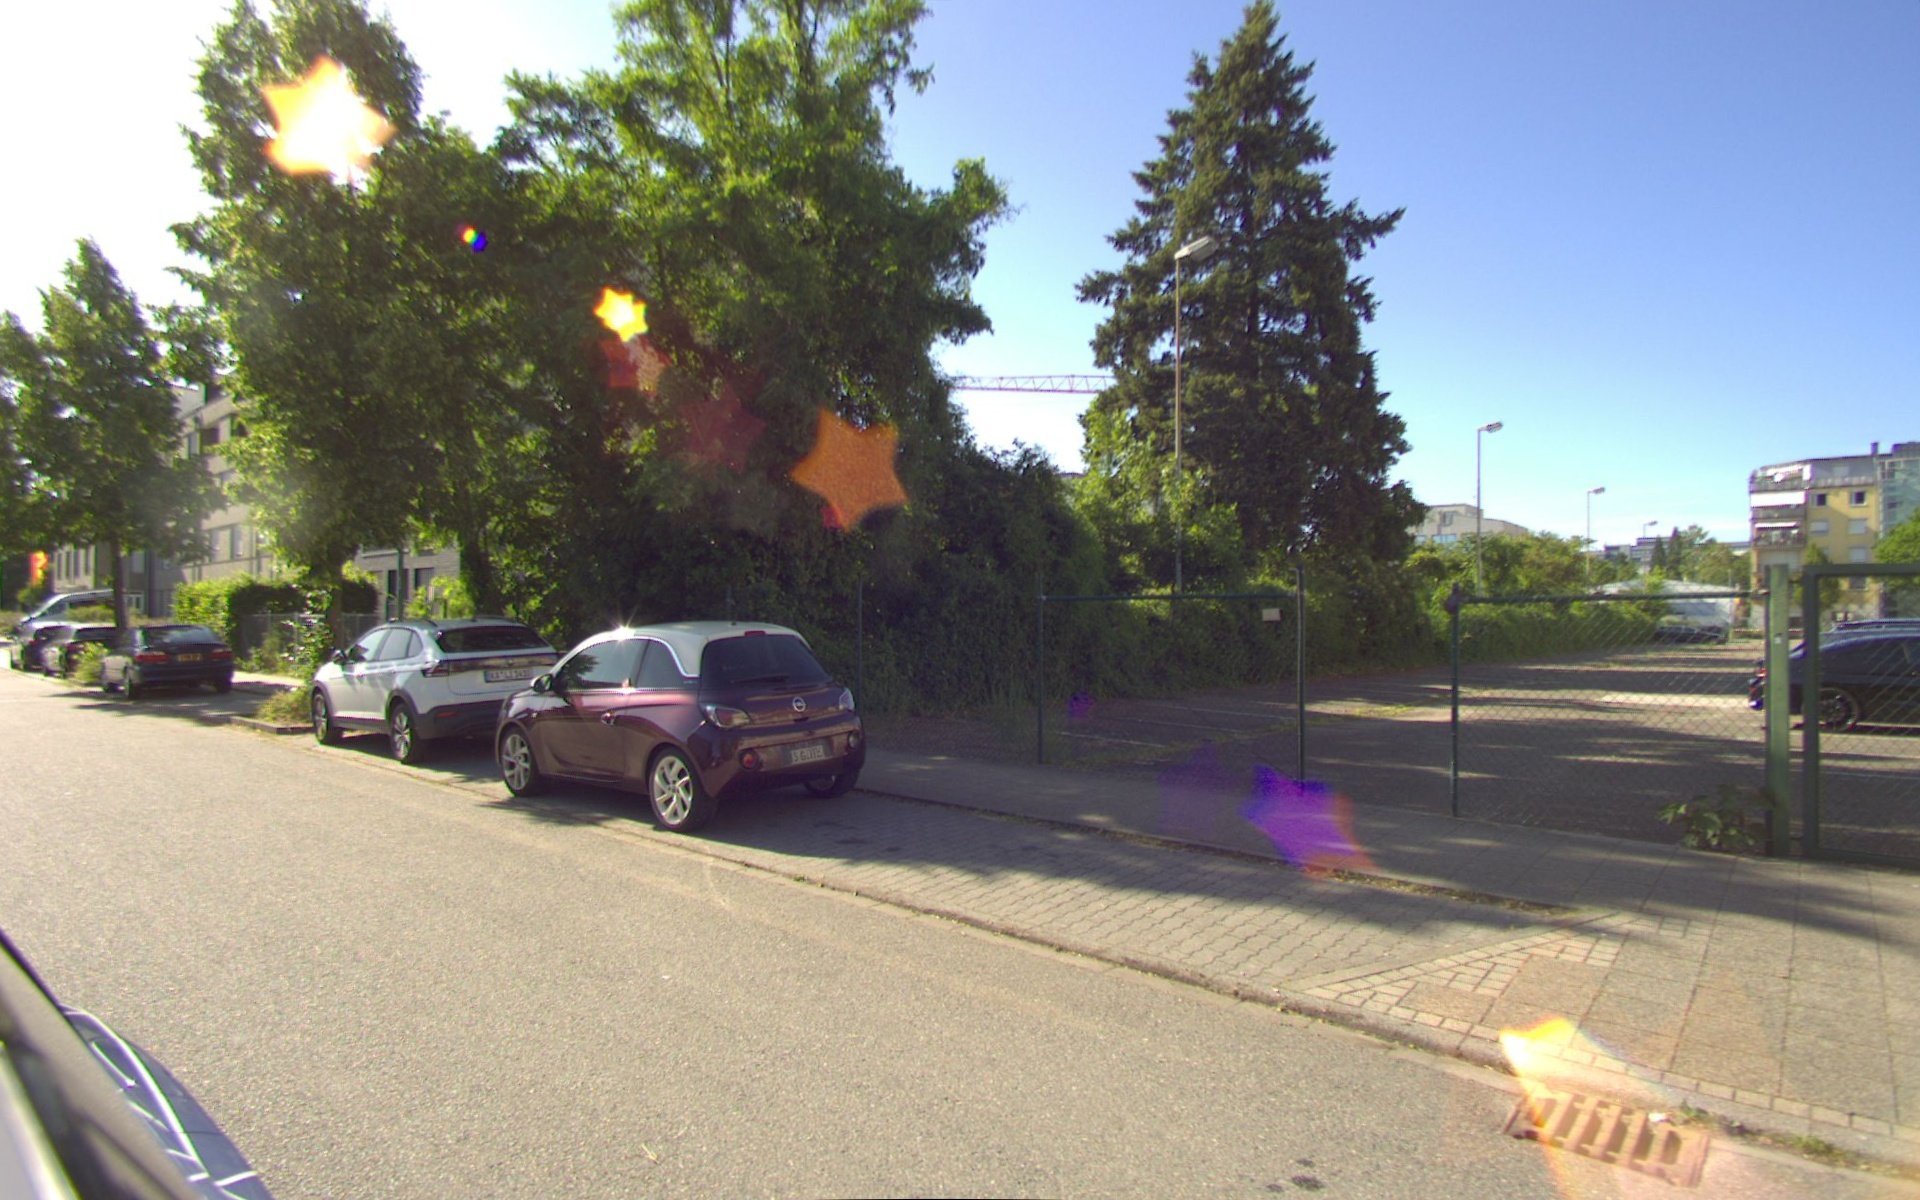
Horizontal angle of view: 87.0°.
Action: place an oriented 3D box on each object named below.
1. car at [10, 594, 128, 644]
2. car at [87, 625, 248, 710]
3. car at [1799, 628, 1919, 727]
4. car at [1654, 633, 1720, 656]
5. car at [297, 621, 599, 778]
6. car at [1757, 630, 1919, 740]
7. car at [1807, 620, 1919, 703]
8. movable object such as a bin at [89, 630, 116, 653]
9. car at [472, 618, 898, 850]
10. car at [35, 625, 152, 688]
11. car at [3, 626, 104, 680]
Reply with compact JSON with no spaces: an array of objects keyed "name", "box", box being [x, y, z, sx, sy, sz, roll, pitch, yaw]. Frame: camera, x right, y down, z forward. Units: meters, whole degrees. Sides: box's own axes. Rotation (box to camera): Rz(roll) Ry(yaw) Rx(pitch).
[{"name":"car","box":[-54.469,1.196,61.946,2.011,2.924,5.091,-1,-2,37]},{"name":"car","box":[-16.368,1.302,20.827,4.357,1.485,1.821,-1,0,41]},{"name":"car","box":[15.864,1.181,15.604,4.375,1.506,1.944,-2,-2,44]},{"name":"car","box":[56.405,3.433,78.561,3.998,1.630,1.973,-1,-1,41]},{"name":"car","box":[-6.168,1.027,12.008,4.000,1.485,1.821,-1,0,41]},{"name":"car","box":[14.005,1.165,14.112,4.375,1.467,1.944,-2,-2,44]},{"name":"car","box":[19.147,1.159,19.371,4.375,1.572,1.944,-2,-2,44]},{"name":"movable object such as a bin","box":[-41.109,1.966,48.501,0.677,1.045,0.852,-1,1,38]},{"name":"car","box":[-2.402,0.922,8.480,3.543,1.485,1.701,-1,0,39]},{"name":"car","box":[-23.334,1.452,27.216,4.025,1.485,1.821,-1,0,41]},{"name":"car","box":[-28.048,1.574,31.282,4.097,1.485,1.821,-1,0,41]}]
